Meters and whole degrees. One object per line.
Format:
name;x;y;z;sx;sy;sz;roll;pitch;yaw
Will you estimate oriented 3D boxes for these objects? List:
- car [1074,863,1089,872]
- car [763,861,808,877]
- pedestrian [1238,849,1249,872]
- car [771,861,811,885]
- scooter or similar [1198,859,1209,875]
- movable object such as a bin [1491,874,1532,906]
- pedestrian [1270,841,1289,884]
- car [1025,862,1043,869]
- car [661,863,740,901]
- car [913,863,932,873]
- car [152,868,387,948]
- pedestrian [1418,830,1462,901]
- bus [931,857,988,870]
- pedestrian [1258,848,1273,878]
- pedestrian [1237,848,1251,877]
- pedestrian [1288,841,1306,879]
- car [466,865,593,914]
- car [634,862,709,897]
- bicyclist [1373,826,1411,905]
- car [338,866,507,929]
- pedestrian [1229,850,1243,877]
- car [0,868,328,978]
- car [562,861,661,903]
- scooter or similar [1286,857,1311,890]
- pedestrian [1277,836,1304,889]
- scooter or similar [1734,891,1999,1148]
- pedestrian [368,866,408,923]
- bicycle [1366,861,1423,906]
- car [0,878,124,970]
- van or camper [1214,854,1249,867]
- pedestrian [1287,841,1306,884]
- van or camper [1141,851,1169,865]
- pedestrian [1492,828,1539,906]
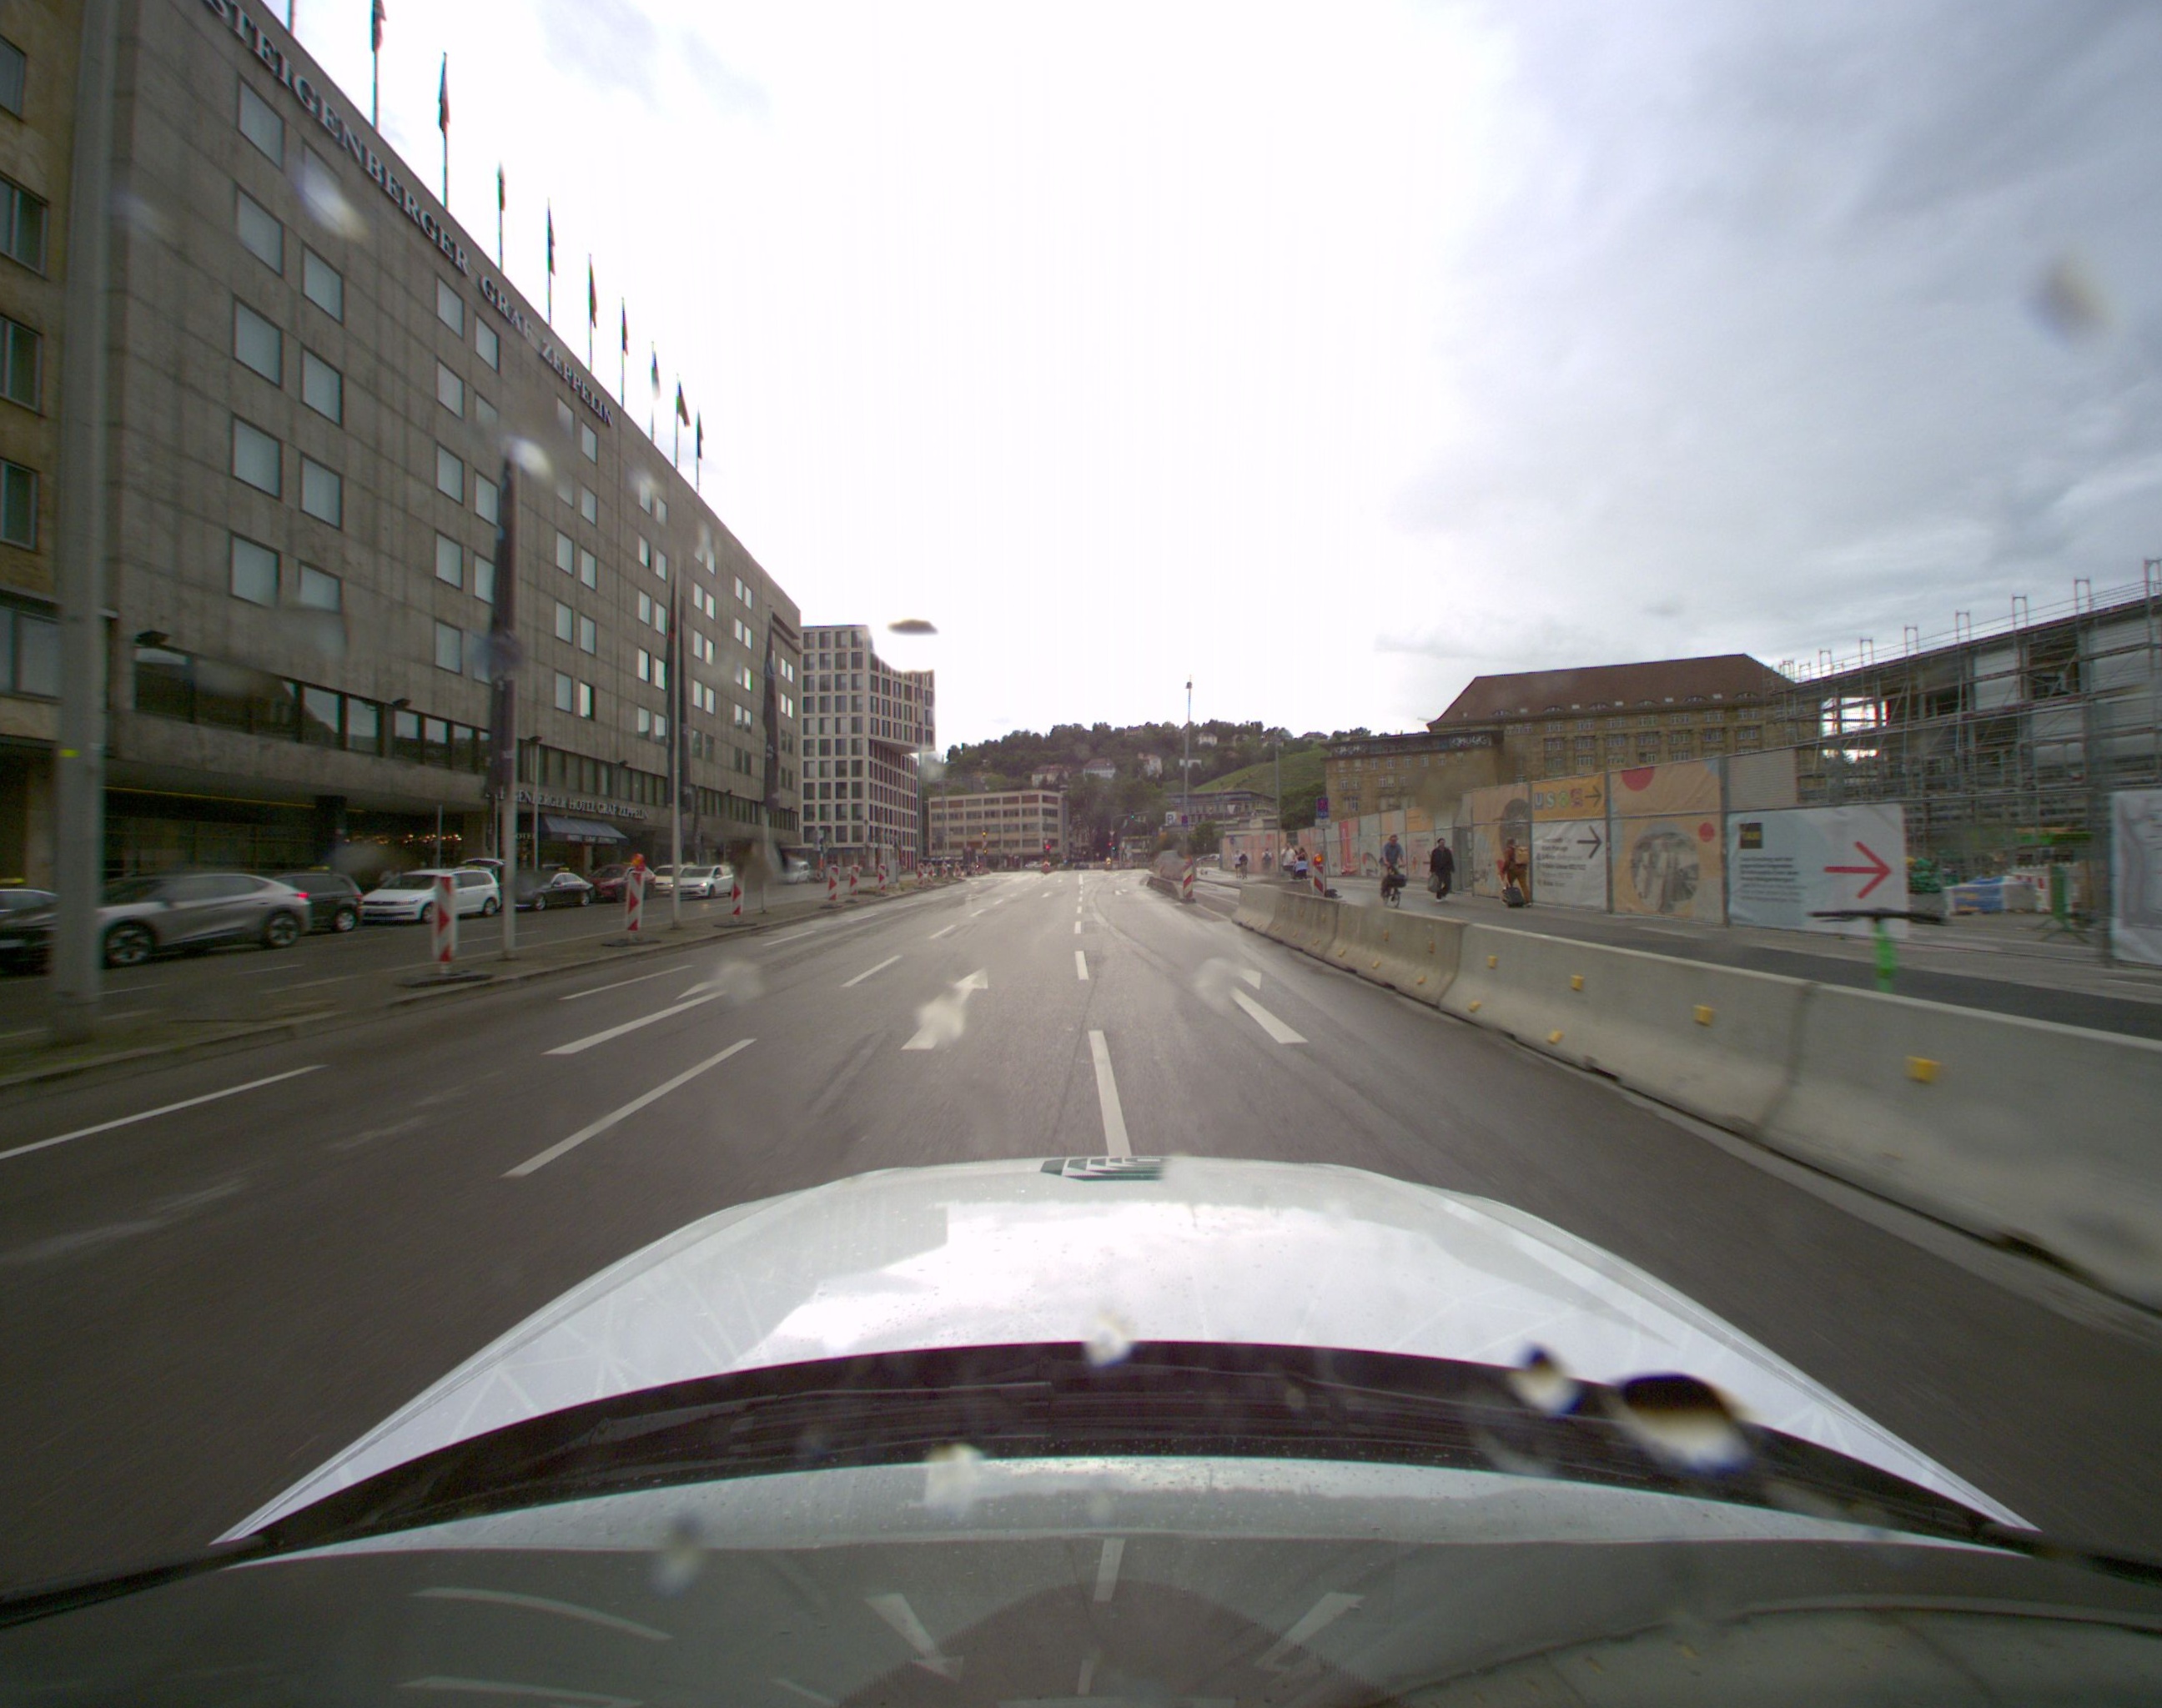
car;0.081;2.548;153.203;1.734;1.492;4.053;-1;0;-17
car;-38.252;1.951;105.432;5.041;1.904;2.091;-1;-1;7
pedestrian;13.187;0.550;66.209;0.717;1.866;0.709;-1;-1;-1
car;-22.750;1.482;64.050;1.770;1.762;4.366;-1;-1;-3
scooter or similar;9.315;0.980;61.891;0.467;1.183;1.411;-1;-1;-8
movable object such as a bin;10.389;0.871;19.679;0.595;0.734;0.778;-1;-1;1
pedestrian;8.766;0.378;36.010;0.681;1.889;0.694;-1;-1;2
car;-10.107;2.443;174.120;1.744;1.492;4.030;-1;-1;-39
car;-17.952;1.282;38.688;1.820;1.669;4.494;-1;-1;-3
car;-32.096;2.857;164.920;3.948;1.816;1.817;-1;-1;40
car;-19.932;1.236;20.322;1.751;1.681;4.223;-1;0;-4
pedestrian;9.695;0.311;22.016;0.845;1.895;0.662;-1;-1;1
bus;-28.053;2.104;188.153;13.798;2.750;3.231;-1;-1;29
pedestrian;11.635;0.550;51.261;0.701;1.866;0.990;-1;-1;1
pedestrian;9.638;0.501;48.265;0.640;1.740;0.837;-1;-1;0
pedestrian;10.962;0.311;41.315;0.682;1.889;0.693;-1;-1;-2
car;-21.140;1.304;31.486;1.898;1.659;4.612;-1;0;-3
car;-21.457;1.317;42.905;1.812;1.698;4.573;-1;-1;-3
bicyclist;8.136;0.306;21.304;0.724;2.014;0.599;-1;-1;1
car;-20.760;1.286;25.980;1.751;1.758;4.704;-1;-1;-4
pedestrian;10.162;0.608;53.476;0.681;1.740;0.907;-1;-1;-1
car;-17.002;1.144;15.178;1.769;1.669;4.497;-2;0;-2
car;-21.390;1.243;37.361;1.896;1.768;4.644;-1;-1;-1
scooter or similar;8.175;0.730;30.641;0.662;1.198;1.044;-1;0;2
pedestrian;8.133;0.318;31.676;0.799;2.016;0.972;-1;-1;2
scooter or similar;4.695;0.916;4.945;0.524;1.333;1.021;-1;-1;-10
pedestrian;-22.011;1.279;25.874;0.619;1.781;0.657;1;-2;-2
bicycle;8.129;0.743;21.209;0.763;1.112;1.982;-1;-1;2
car;-20.343;1.301;14.330;1.751;1.621;4.558;-1;-1;-4
van or camper;23.771;0.990;128.654;5.180;1.894;1.887;-1;-1;-1
pedestrian;9.529;0.378;36.015;0.681;1.889;0.694;-1;-1;2
van or camper;11.651;0.638;128.408;4.230;1.979;1.850;-1;-1;-2
pedestrian;10.676;0.317;20.031;0.764;1.895;0.654;-1;-1;1
